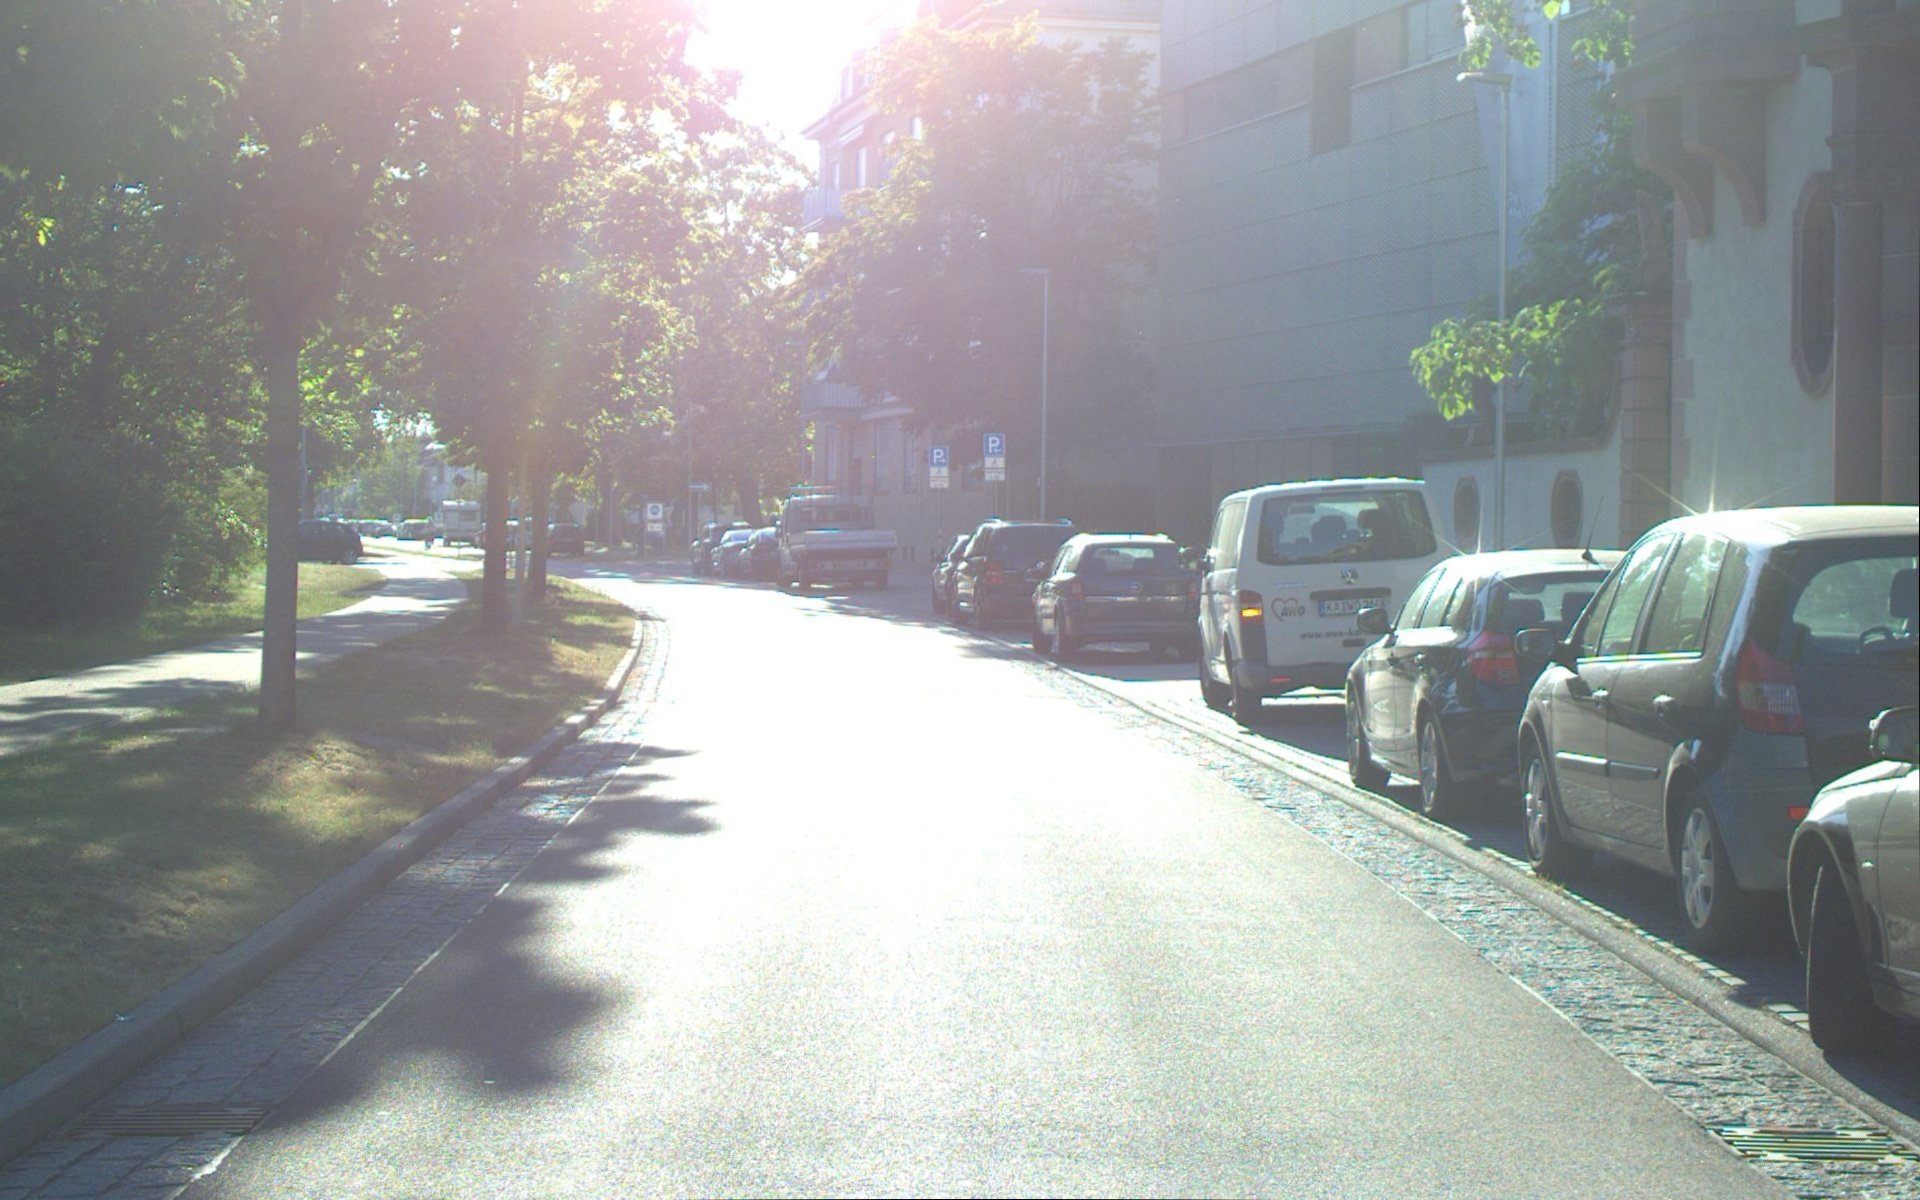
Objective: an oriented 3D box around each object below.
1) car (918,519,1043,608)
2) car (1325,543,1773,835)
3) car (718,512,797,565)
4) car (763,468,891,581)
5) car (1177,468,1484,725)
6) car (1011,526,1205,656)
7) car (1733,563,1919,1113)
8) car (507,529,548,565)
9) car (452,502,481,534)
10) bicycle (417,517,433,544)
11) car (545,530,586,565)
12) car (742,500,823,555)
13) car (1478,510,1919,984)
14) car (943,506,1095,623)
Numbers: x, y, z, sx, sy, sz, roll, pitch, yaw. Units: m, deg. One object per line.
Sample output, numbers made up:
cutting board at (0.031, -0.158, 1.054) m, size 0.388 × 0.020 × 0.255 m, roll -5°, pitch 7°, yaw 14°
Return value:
car at (0.310, -0.640, 58.374) m, size 1.724 × 1.416 × 3.907 m, roll -1°, pitch 2°, yaw -6°
car at (3.188, 0.412, 19.397) m, size 1.679 × 1.398 × 4.200 m, roll -1°, pitch 2°, yaw -2°
car at (-5.739, -1.756, 97.045) m, size 1.690 × 1.435 × 4.105 m, roll -1°, pitch 2°, yaw -11°
car at (-3.179, -1.801, 81.075) m, size 2.211 × 2.521 × 6.149 m, roll -2°, pitch 2°, yaw -9°
car at (3.113, -0.090, 29.887) m, size 1.993 × 1.959 × 4.850 m, roll -3°, pitch 1°, yaw -1°
car at (1.748, -0.147, 41.936) m, size 1.747 × 1.461 × 4.478 m, roll 1°, pitch 1°, yaw -5°
car at (3.505, 0.649, 8.740) m, size 1.871 × 1.431 × 4.523 m, roll -1°, pitch 1°, yaw -2°
car at (-21.202, -2.600, 168.468) m, size 1.793 × 1.718 × 4.001 m, roll 1°, pitch 1°, yaw -9°
car at (-31.620, -5.287, 220.220) m, size 1.793 × 1.992 × 4.001 m, roll 1°, pitch 1°, yaw -9°
bicycle at (-26.748, -3.493, 172.030) m, size 0.688 × 1.198 × 2.344 m, roll 1°, pitch 5°, yaw -7°
car at (-17.801, -2.380, 155.075) m, size 1.793 × 1.504 × 4.001 m, roll 1°, pitch 1°, yaw -7°
car at (-4.778, -1.961, 92.055) m, size 1.690 × 1.435 × 3.552 m, roll -1°, pitch 2°, yaw -11°
car at (3.437, 0.448, 13.890) m, size 1.815 × 1.596 × 4.193 m, roll -1°, pitch 1°, yaw -3°
car at (0.853, -0.576, 52.293) m, size 1.724 × 1.663 × 4.115 m, roll -1°, pitch 2°, yaw -7°
